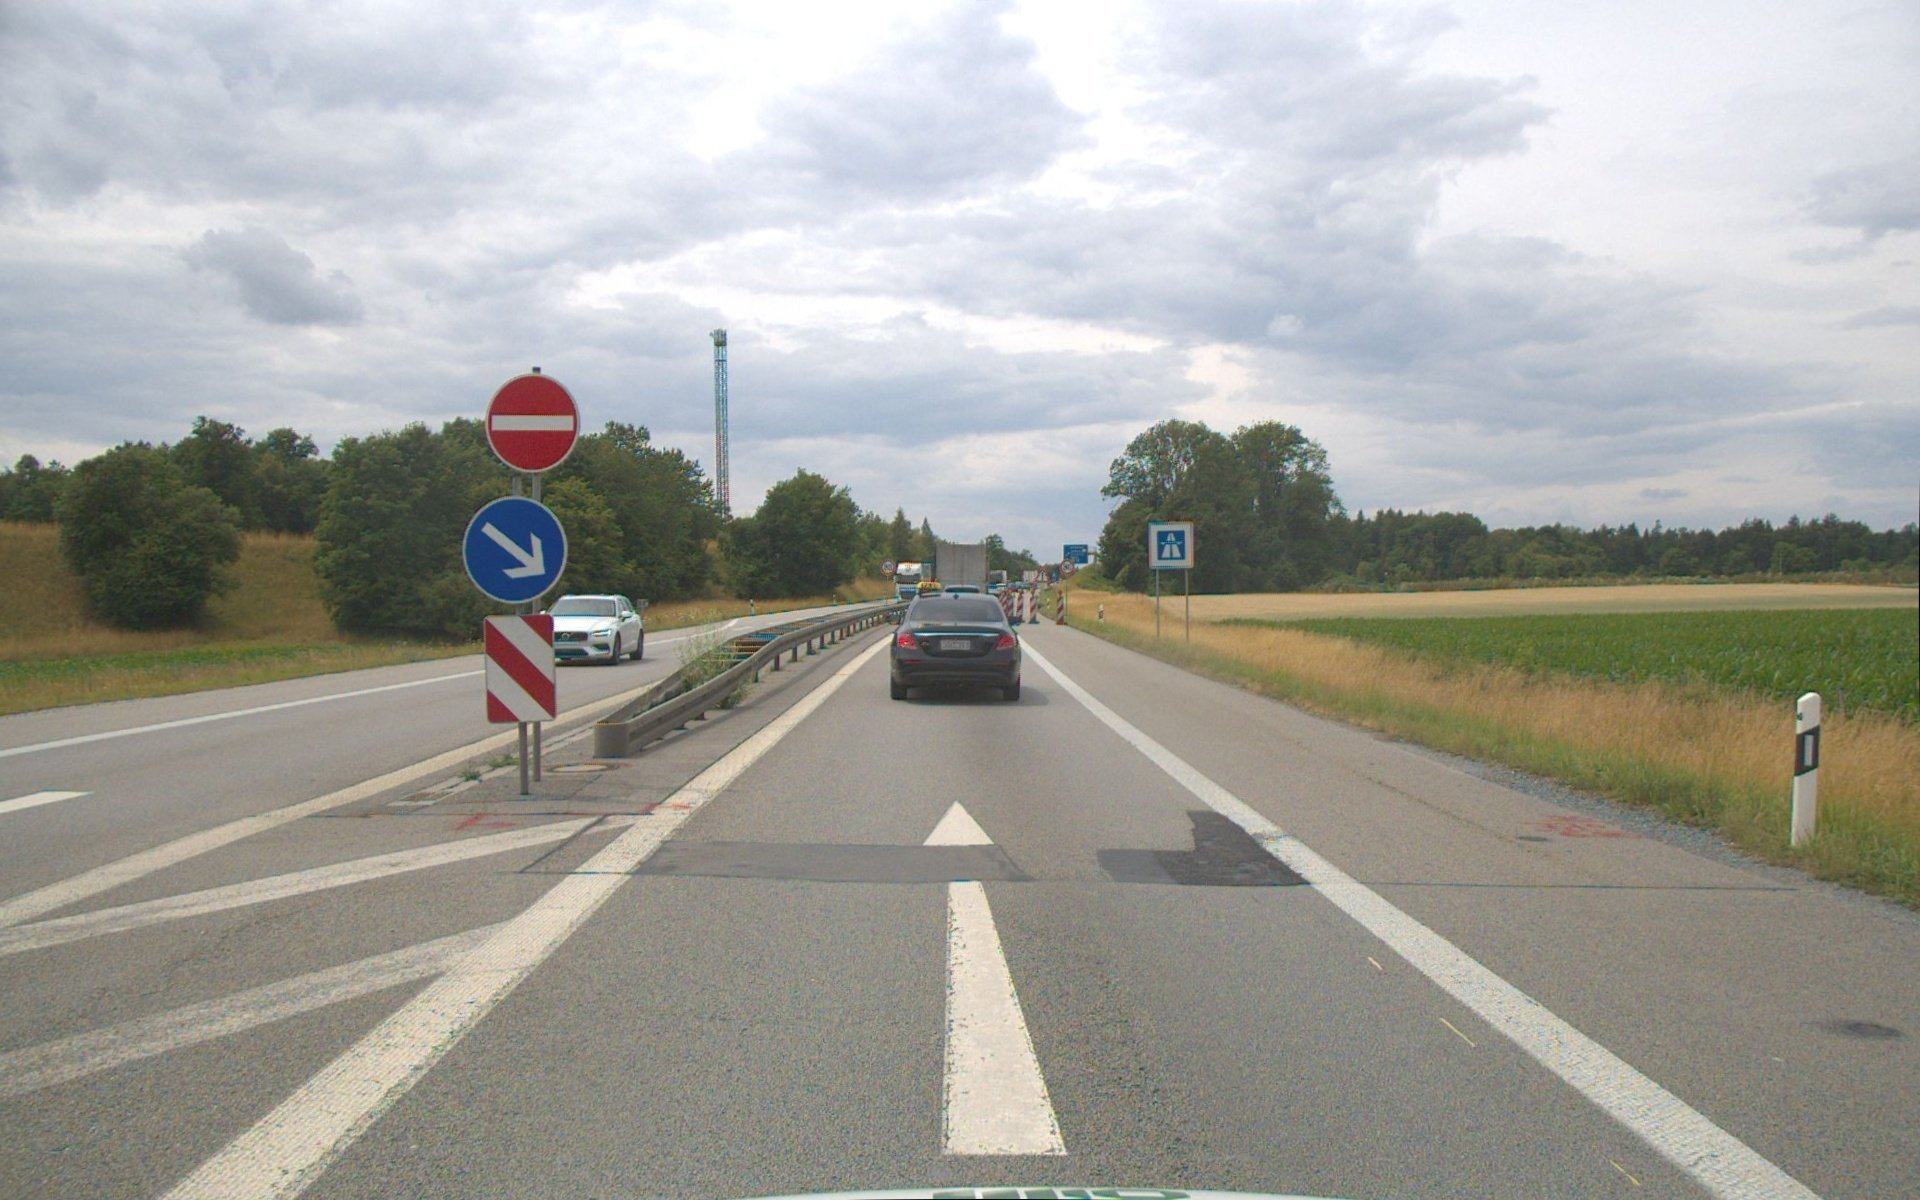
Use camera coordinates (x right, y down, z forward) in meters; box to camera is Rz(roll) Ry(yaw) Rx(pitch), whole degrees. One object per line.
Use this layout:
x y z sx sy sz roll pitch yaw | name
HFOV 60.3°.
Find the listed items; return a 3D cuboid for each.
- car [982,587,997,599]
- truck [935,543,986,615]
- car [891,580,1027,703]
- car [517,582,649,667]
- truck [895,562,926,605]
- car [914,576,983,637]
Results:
3.566 -0.809 199.613 1.616 1.420 3.704 1 0 -3 | car
0.028 -1.051 85.425 2.534 3.586 4.812 1 0 0 | truck
-0.028 0.558 23.762 1.759 1.587 3.999 1 0 -1 | car
-7.930 0.504 35.177 1.780 1.661 4.601 1 0 -1 | car
-5.017 -1.642 169.366 2.741 4.214 7.229 1 0 1 | truck
-0.437 0.226 58.392 1.956 2.049 3.993 1 0 -7 | car
